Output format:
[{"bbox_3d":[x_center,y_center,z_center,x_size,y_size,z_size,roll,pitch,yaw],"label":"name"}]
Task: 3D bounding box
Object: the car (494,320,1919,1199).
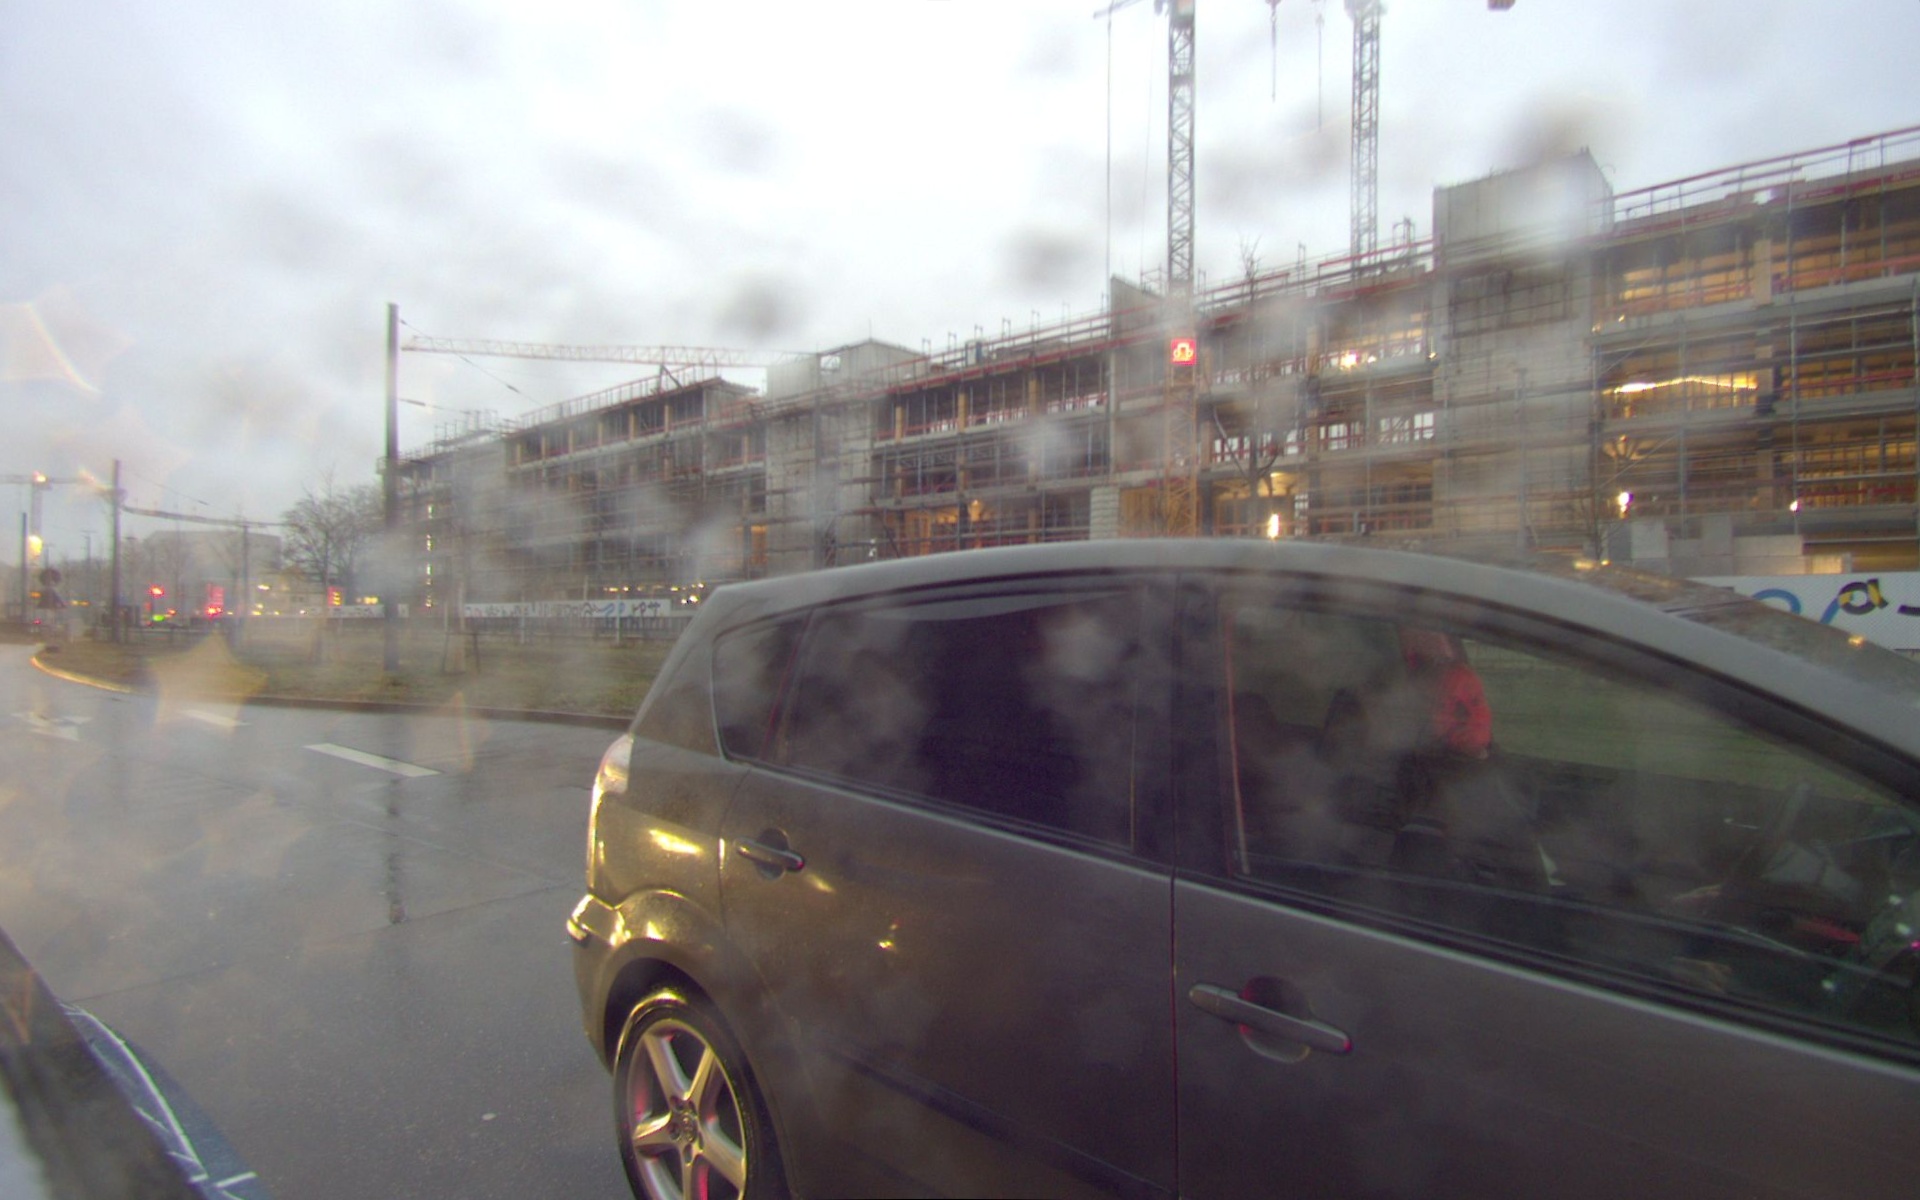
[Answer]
[{"bbox_3d":[1.004,0.598,1.888,4.131,1.659,1.793,-1,-1,39],"label":"car"}]
